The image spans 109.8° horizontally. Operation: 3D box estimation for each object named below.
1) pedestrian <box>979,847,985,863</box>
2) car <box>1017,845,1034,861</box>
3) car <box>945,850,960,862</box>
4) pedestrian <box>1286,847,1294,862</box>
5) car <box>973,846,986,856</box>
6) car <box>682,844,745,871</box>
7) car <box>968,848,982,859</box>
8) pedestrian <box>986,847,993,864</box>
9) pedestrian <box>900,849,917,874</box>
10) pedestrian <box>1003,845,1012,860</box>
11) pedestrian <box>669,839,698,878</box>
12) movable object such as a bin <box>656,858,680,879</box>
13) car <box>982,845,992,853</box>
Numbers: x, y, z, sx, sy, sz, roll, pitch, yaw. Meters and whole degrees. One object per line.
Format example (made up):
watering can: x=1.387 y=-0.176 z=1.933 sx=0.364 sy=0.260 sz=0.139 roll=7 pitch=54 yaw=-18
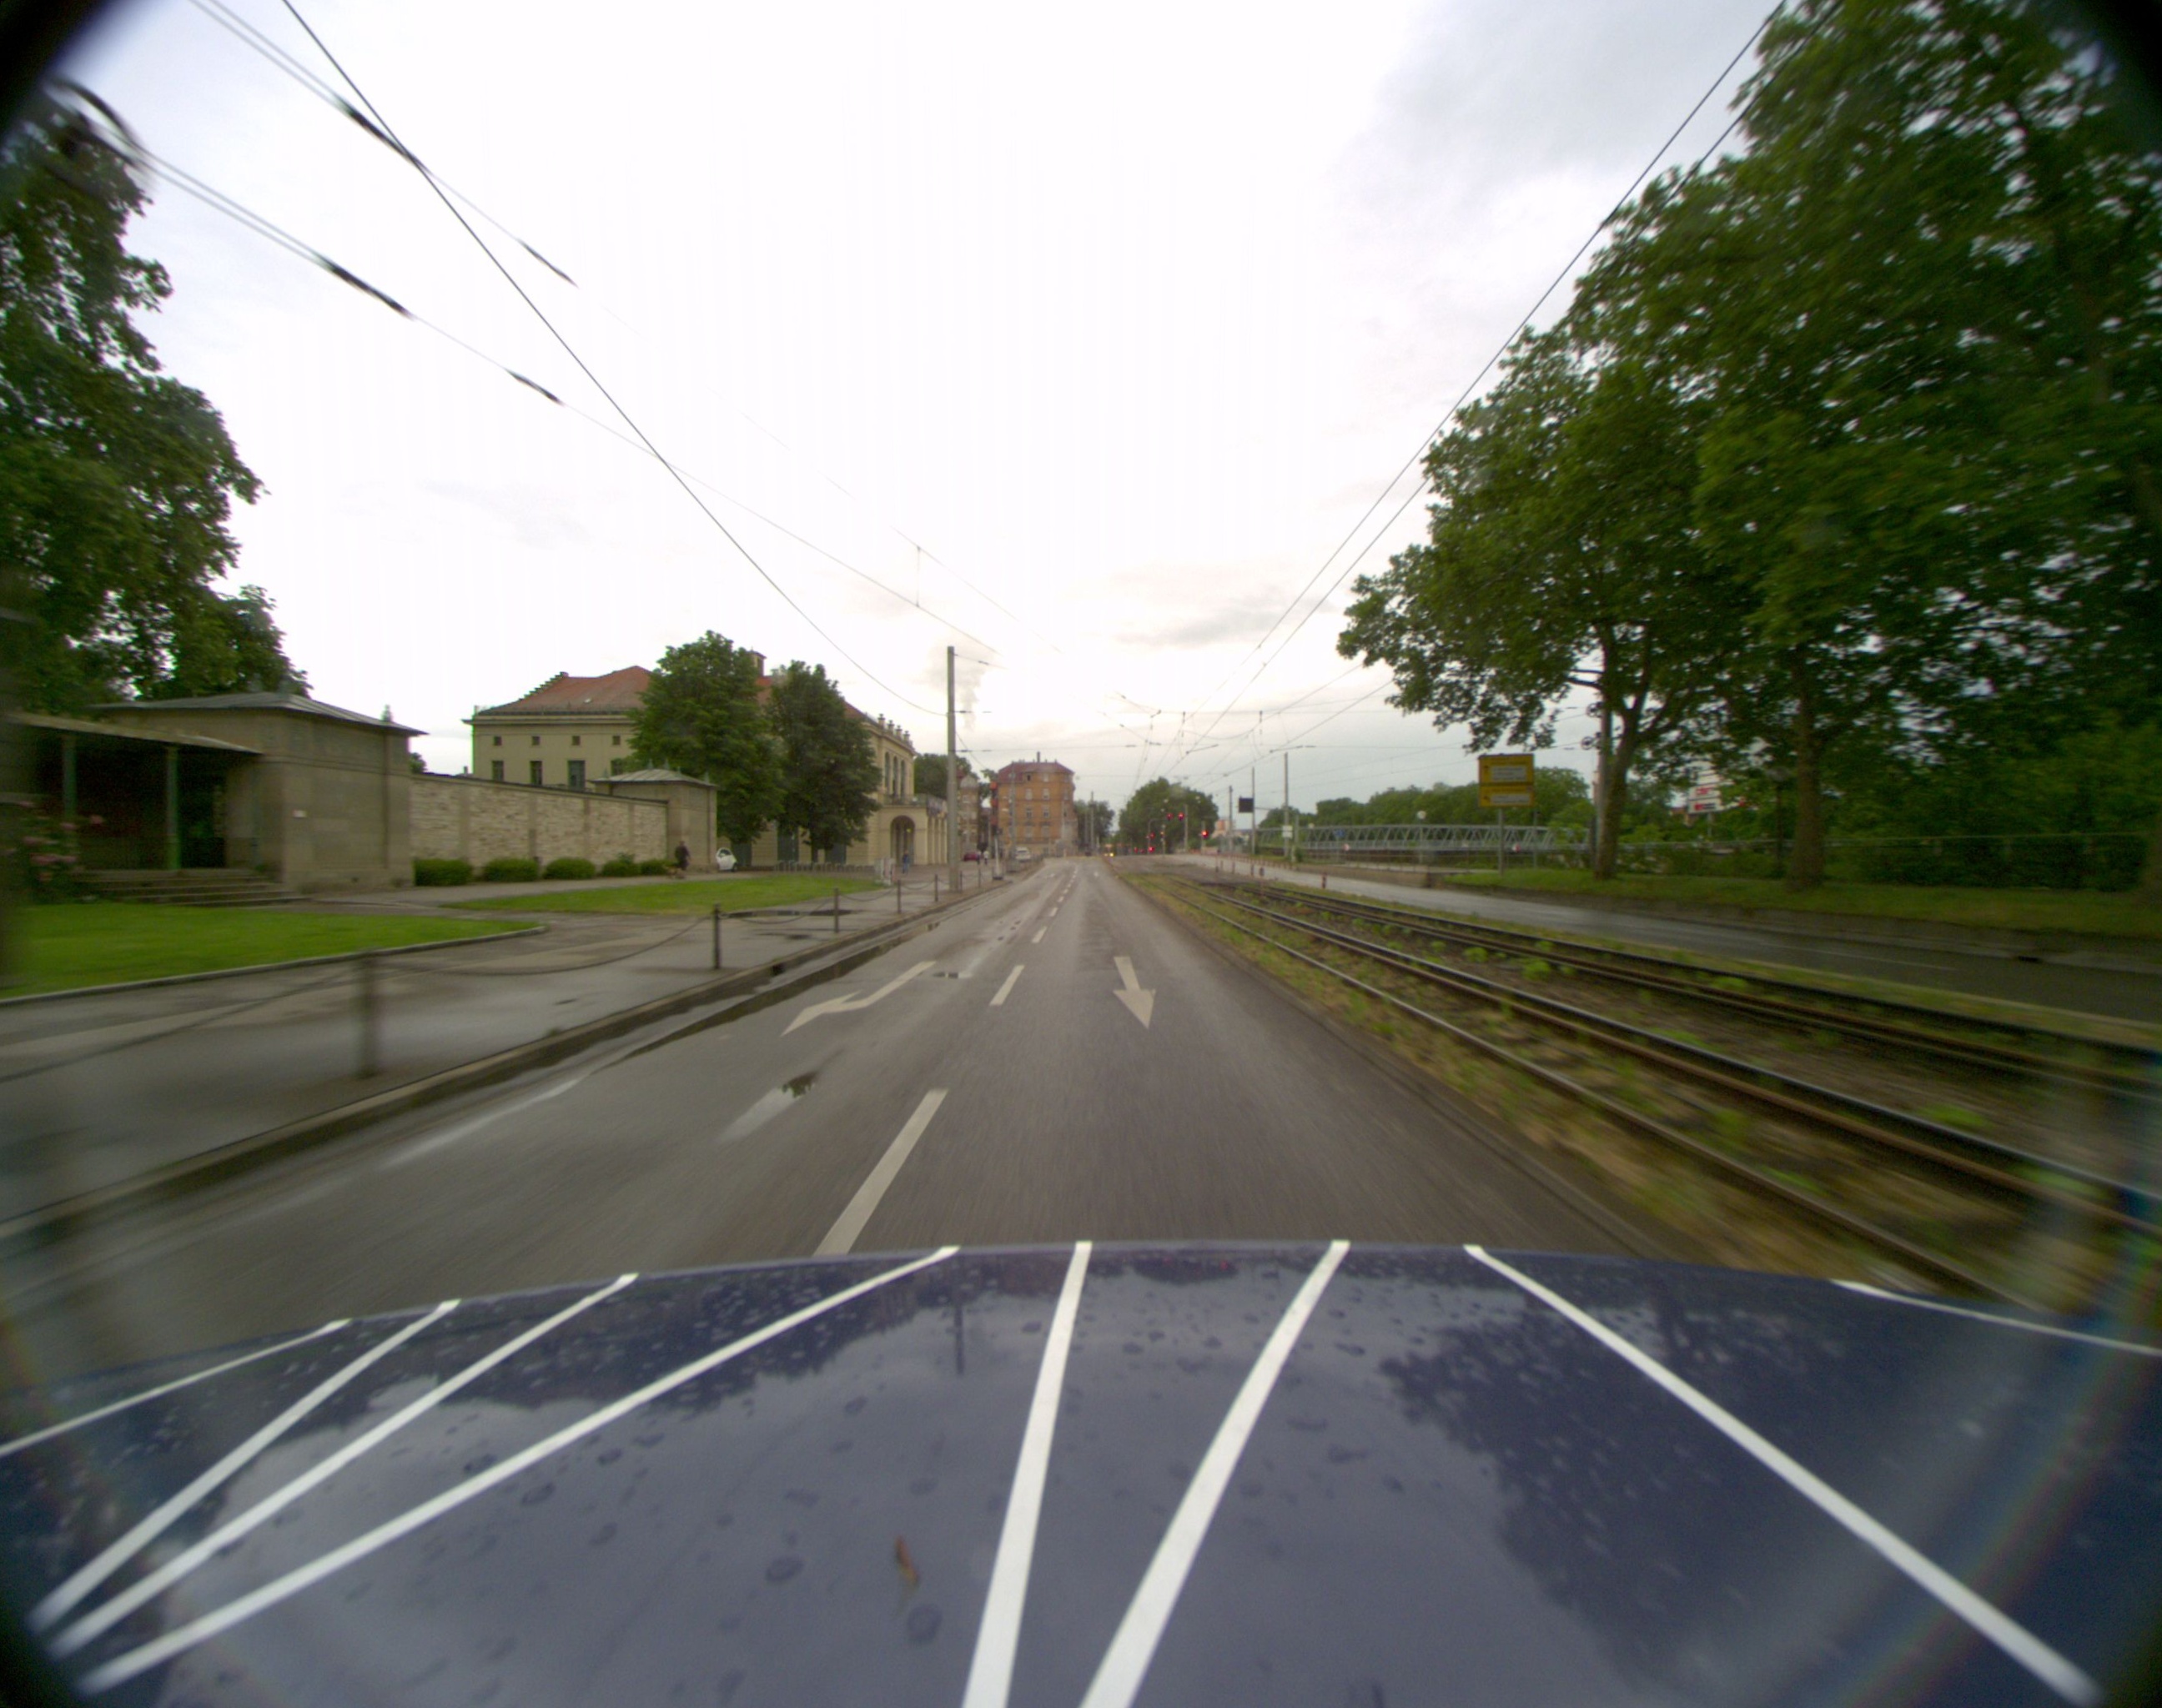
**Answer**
pedestrian: x=-10.171 y=0.052 z=77.982 sx=0.629 sy=1.635 sz=0.780 roll=0 pitch=1 yaw=-6
car: x=-6.454 y=-0.160 z=89.082 sx=1.844 sy=1.630 sz=4.140 roll=-4 pitch=1 yaw=-4
car: x=-18.244 y=0.237 z=107.861 sx=1.864 sy=1.539 sz=4.063 roll=-1 pitch=1 yaw=-6
pedestrian: x=23.266 y=0.050 z=84.690 sx=0.766 sy=1.678 sz=0.619 roll=0 pitch=1 yaw=0
car: x=-15.831 y=-0.464 z=118.630 sx=1.831 sy=1.573 sz=3.997 roll=0 pitch=1 yaw=-5
car: x=-21.081 y=0.210 z=43.694 sx=1.841 sy=1.446 sz=3.598 roll=0 pitch=-2 yaw=0
car: x=-15.037 y=-0.098 z=107.790 sx=1.831 sy=1.573 sz=3.997 roll=0 pitch=1 yaw=-5
pedestrian: x=-9.358 y=0.104 z=77.930 sx=0.595 sy=1.726 sz=0.839 roll=0 pitch=1 yaw=-2
pedestrian: x=-11.216 y=0.504 z=49.450 sx=0.863 sy=1.581 sz=0.669 roll=2 pitch=1 yaw=27
pedestrian: x=-8.932 y=-0.150 z=92.009 sx=0.783 sy=1.797 sz=0.696 roll=-3 pitch=2 yaw=-40
pedestrian: x=-17.298 y=0.181 z=33.080 sx=0.730 sy=1.701 sz=0.981 roll=0 pitch=1 yaw=1
movable object such as a bin: x=-17.894 y=0.629 z=32.956 sx=0.343 sy=0.867 sz=1.191 roll=0 pitch=1 yaw=2
car: x=-19.713 y=-1.063 z=159.269 sx=1.831 sy=1.573 sz=3.997 roll=0 pitch=1 yaw=-5
